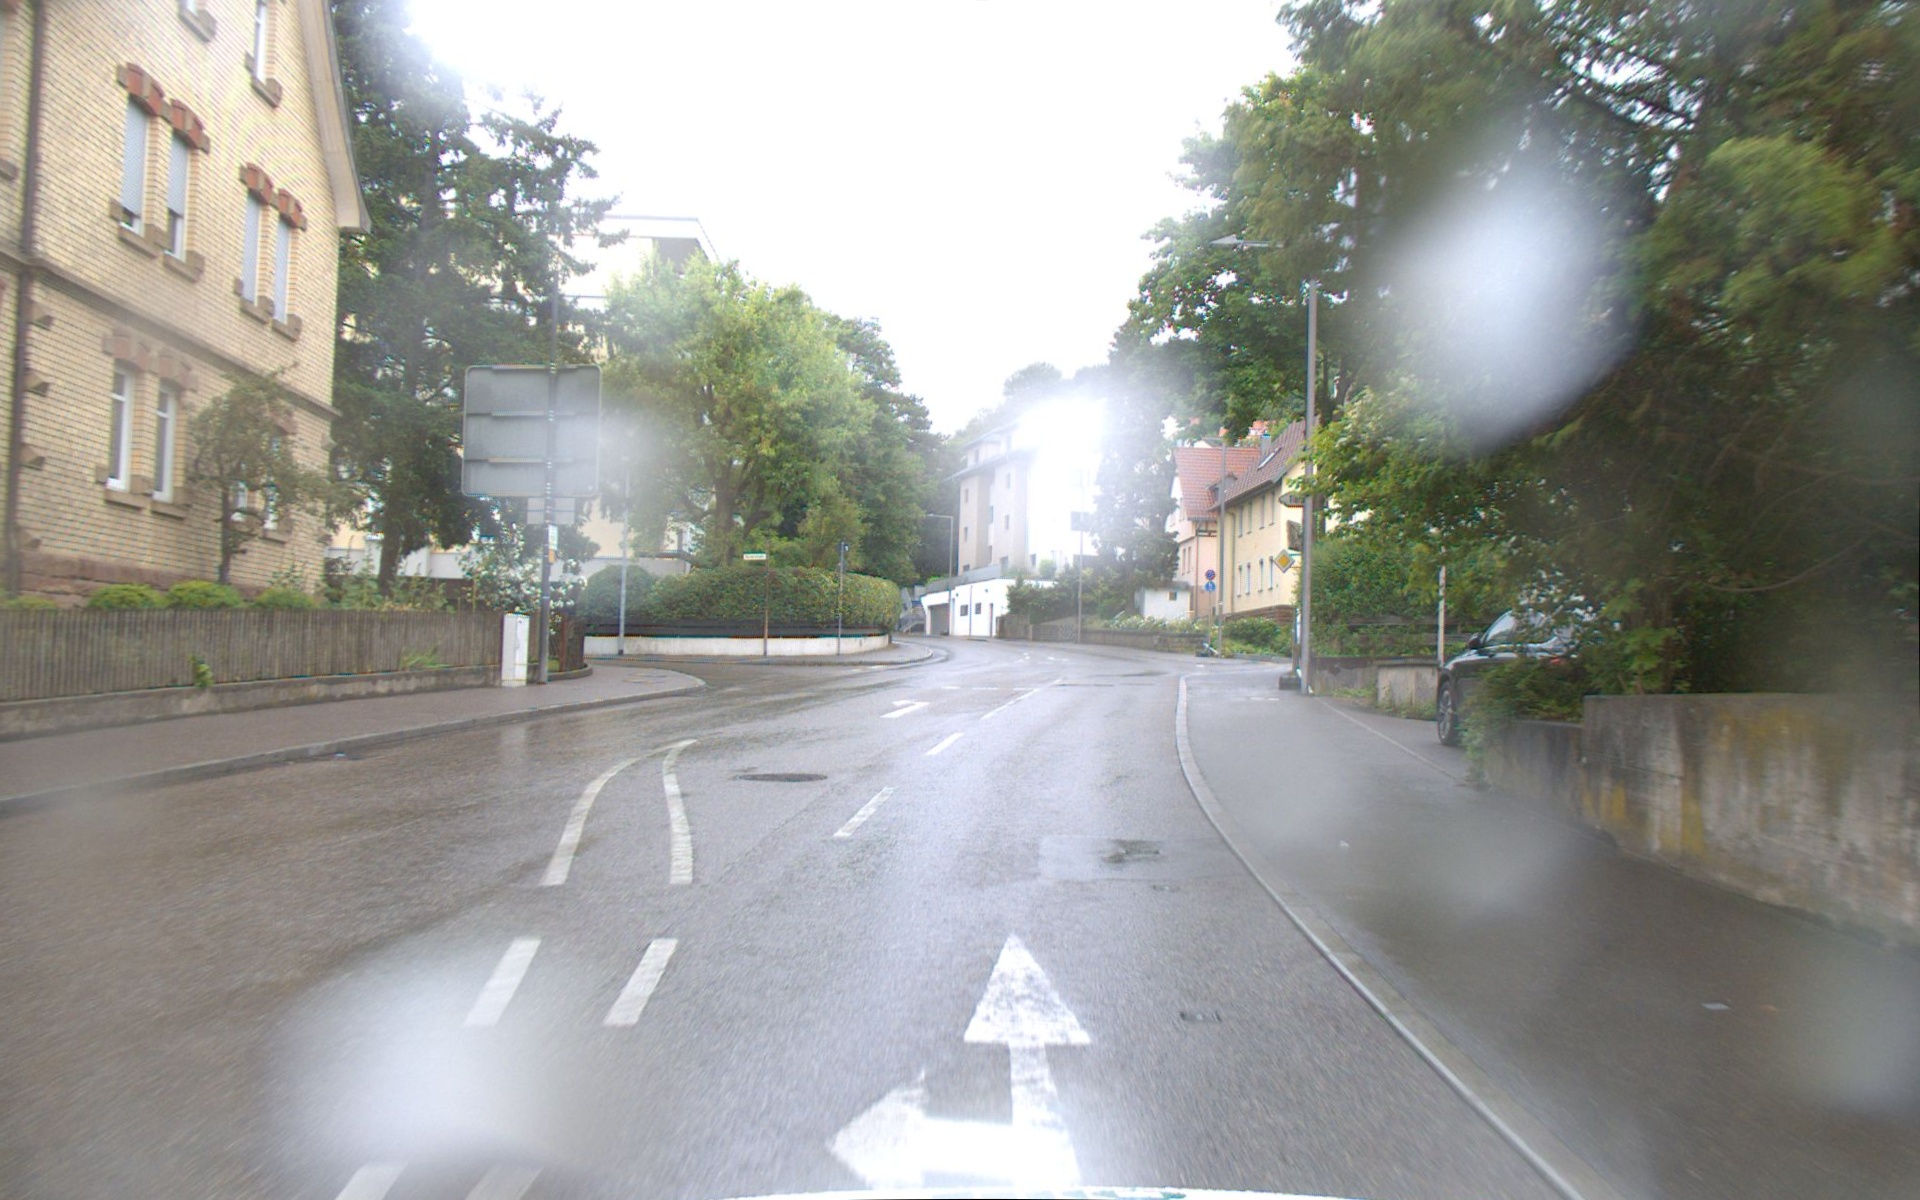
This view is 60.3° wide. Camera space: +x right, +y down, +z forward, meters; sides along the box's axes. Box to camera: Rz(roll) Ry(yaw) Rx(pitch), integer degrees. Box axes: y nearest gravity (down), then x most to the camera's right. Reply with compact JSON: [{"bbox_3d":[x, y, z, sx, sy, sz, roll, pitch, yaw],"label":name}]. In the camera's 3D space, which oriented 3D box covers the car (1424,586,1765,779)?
[{"bbox_3d":[6.264,0.741,16.968,1.744,1.597,4.729,3,0,2],"label":"car"}]
